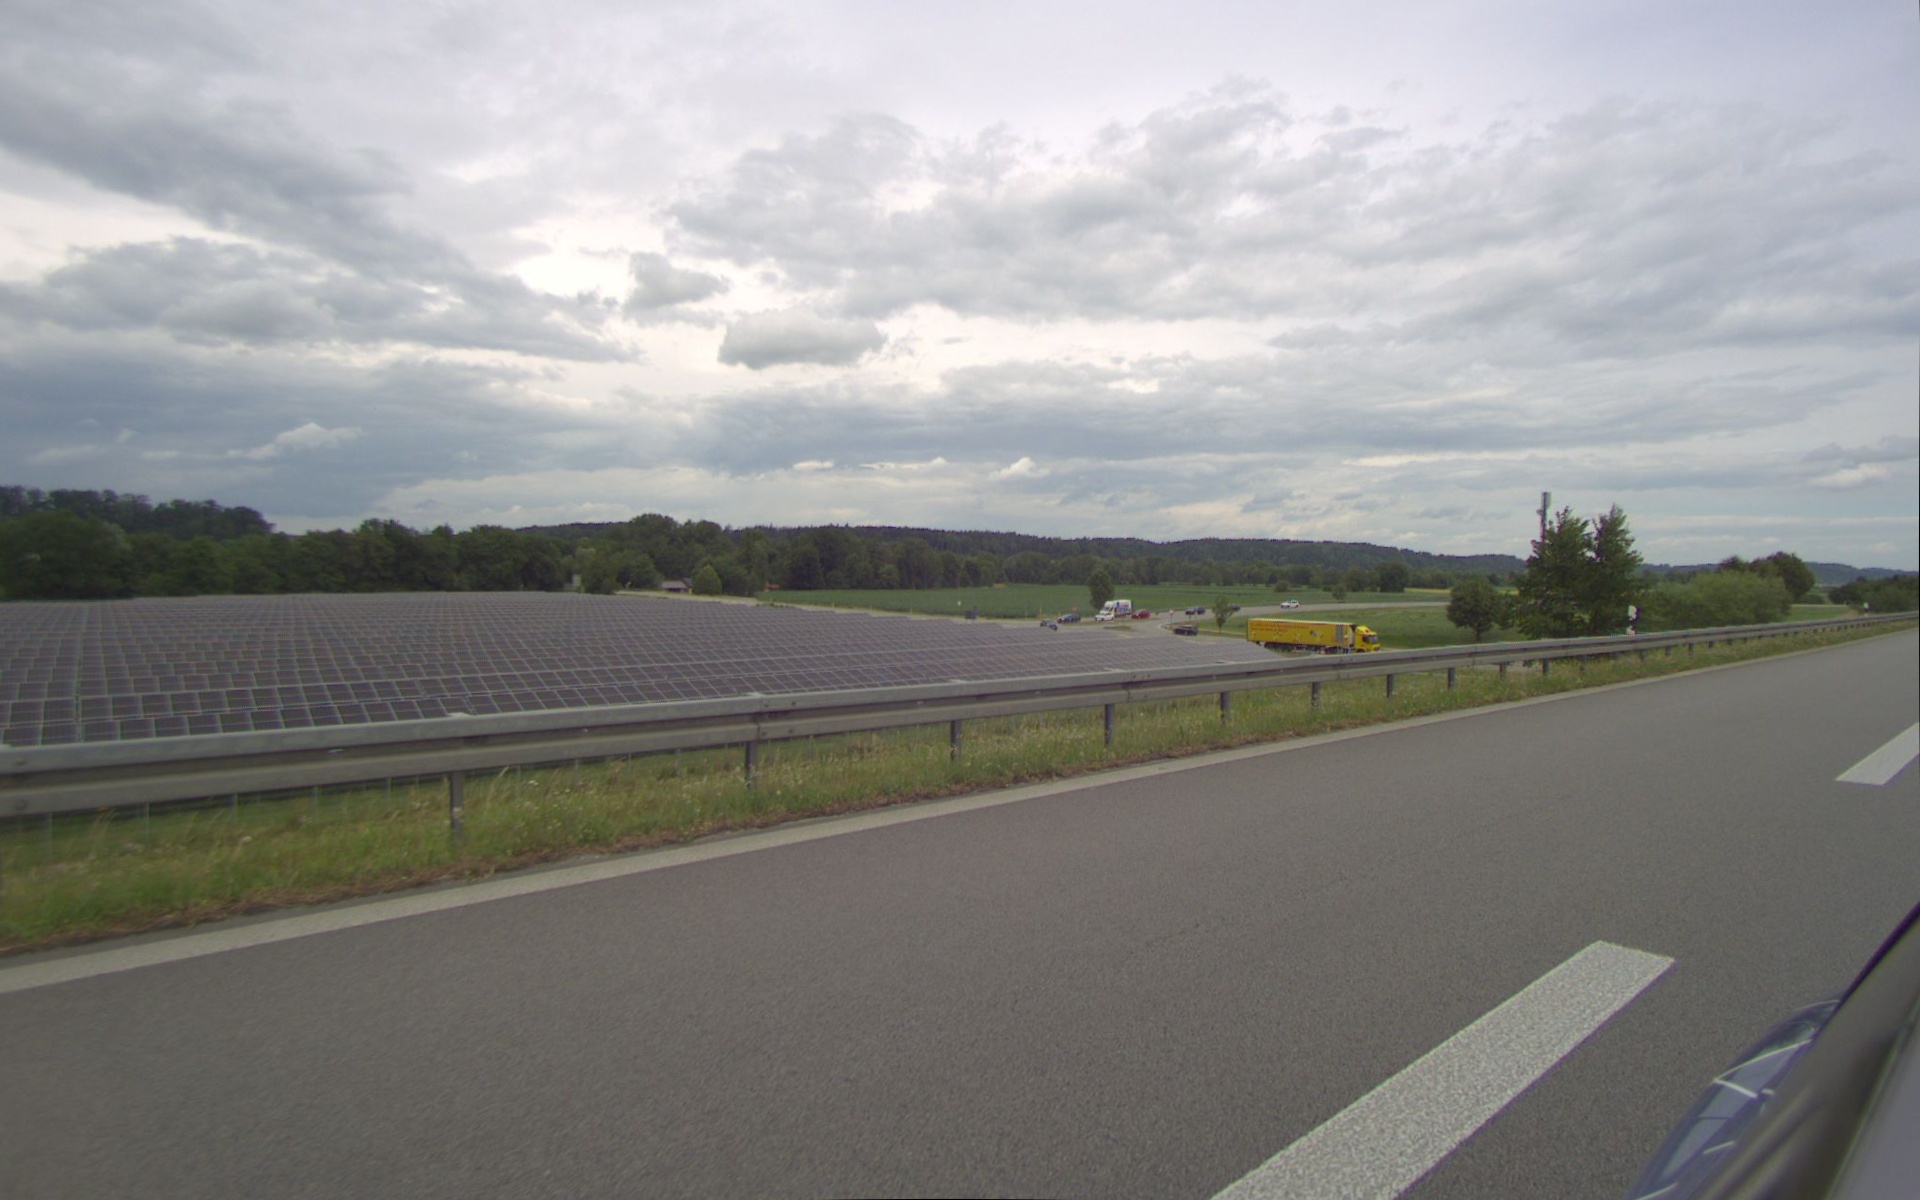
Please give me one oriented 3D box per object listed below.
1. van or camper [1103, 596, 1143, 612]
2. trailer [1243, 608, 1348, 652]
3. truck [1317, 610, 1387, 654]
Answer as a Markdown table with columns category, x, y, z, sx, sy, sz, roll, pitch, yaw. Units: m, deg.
| category | x | y | z | sx | sy | sz | roll | pitch | yaw |
| --- | --- | --- | --- | --- | --- | --- | --- | --- | --- |
| van or camper | 30.494 | 0.736 | 189.353 | 6.983 | 2.946 | 2.804 | -1 | -3 | -29 |
| trailer | 41.460 | 3.582 | 125.533 | 2.969 | 4.847 | 12.280 | 1 | 1 | -44 |
| truck | 46.551 | 3.758 | 120.192 | 2.970 | 4.847 | 7.123 | 1 | 1 | -44 |
